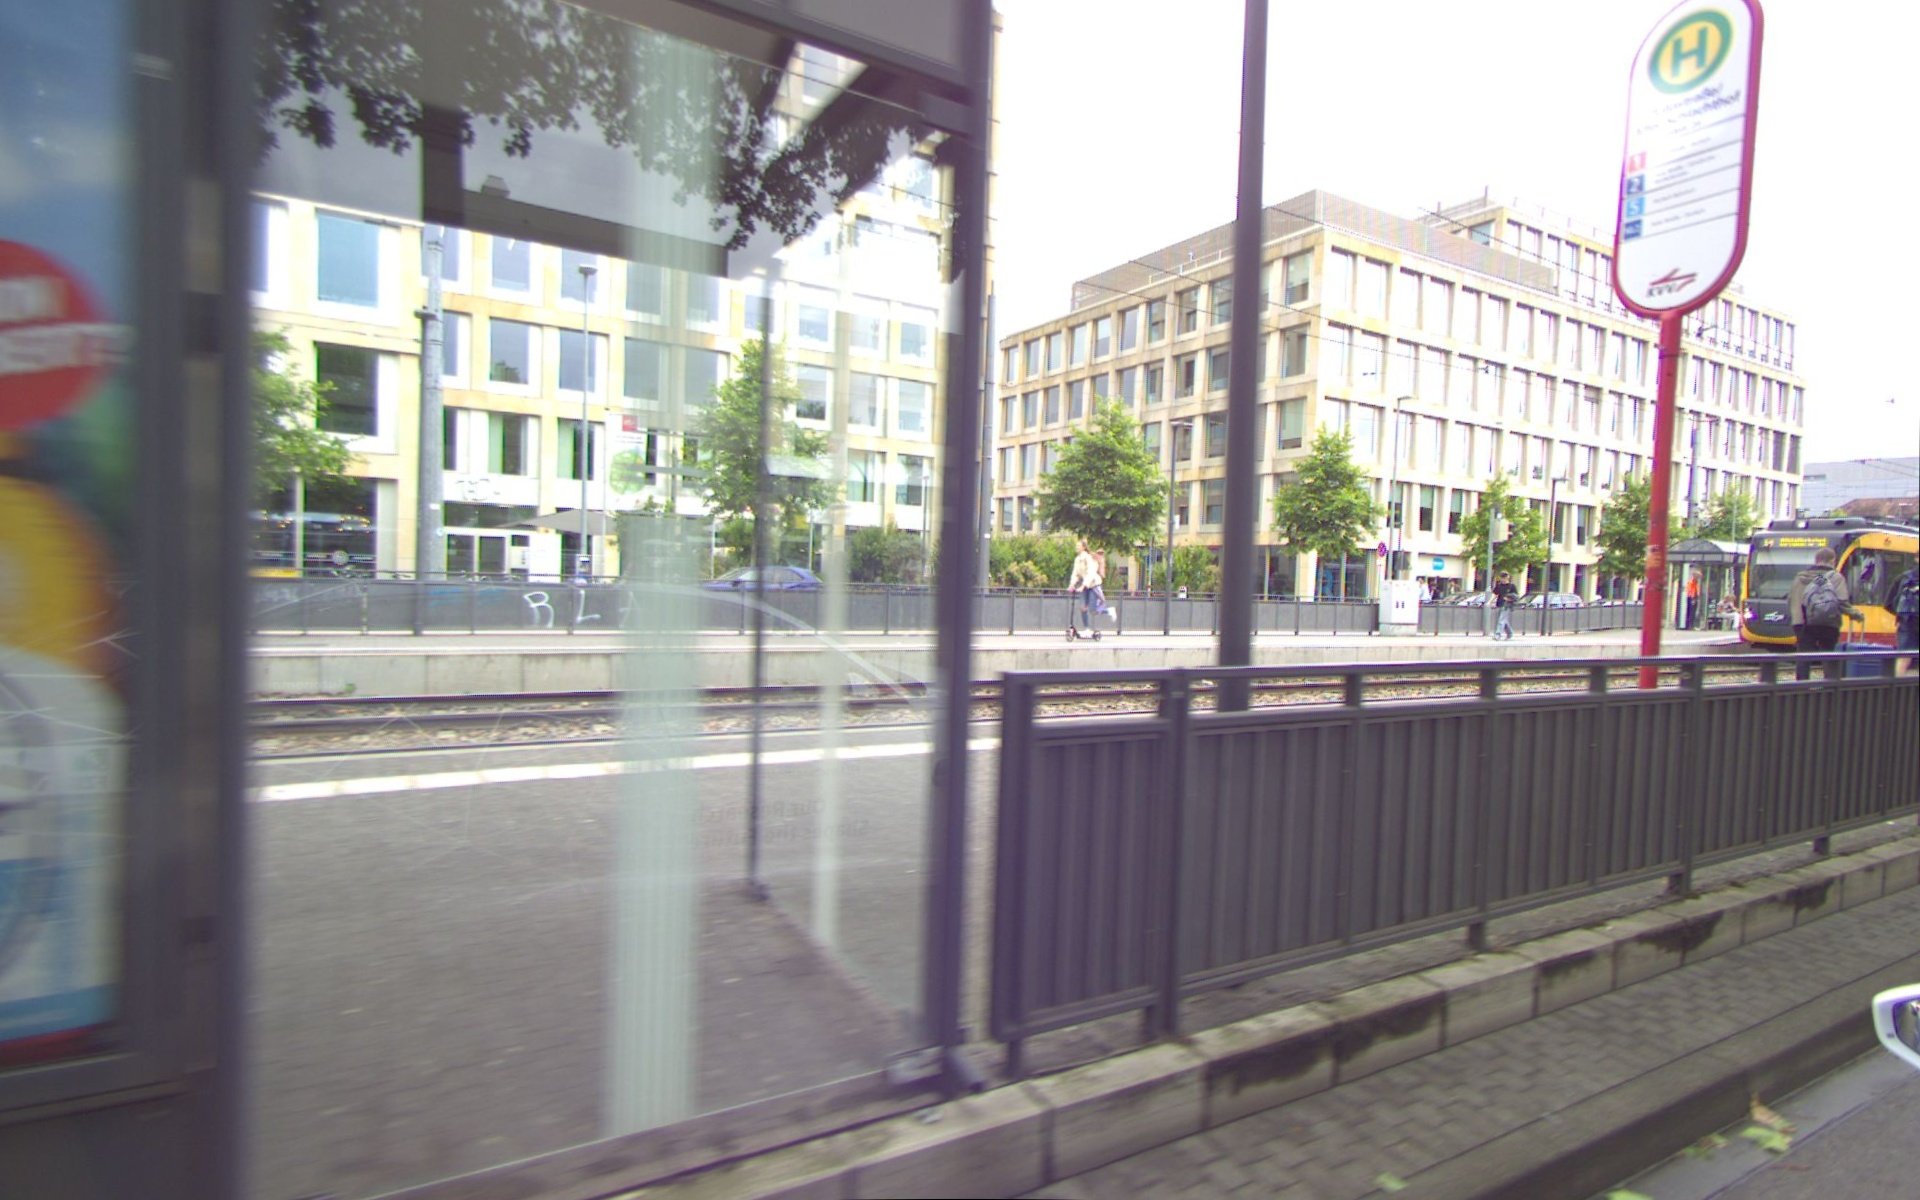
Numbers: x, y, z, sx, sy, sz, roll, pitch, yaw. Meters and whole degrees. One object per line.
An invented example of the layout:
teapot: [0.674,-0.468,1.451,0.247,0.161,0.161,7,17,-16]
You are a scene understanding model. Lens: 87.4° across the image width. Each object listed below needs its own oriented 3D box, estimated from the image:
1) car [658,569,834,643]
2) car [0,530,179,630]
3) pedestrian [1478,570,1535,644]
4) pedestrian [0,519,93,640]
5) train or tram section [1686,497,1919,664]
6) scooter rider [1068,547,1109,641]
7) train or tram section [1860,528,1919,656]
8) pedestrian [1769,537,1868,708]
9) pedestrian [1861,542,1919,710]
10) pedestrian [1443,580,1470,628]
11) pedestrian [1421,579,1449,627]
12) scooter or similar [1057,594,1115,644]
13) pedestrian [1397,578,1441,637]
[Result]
car: [-5.424,0.146,25.458,3.951,1.684,1.985,2,1,-29]
car: [-16.898,-0.390,18.229,3.951,1.684,1.985,2,1,-29]
pedestrian: [13.811,0.175,25.388,1.147,1.819,0.707,2,1,-32]
pedestrian: [-11.212,-0.254,12.091,0.927,1.390,1.034,2,1,-27]
train or tram section: [24.710,-0.332,27.736,11.179,3.913,3.221,2,1,-30]
scooter rider: [2.338,-0.106,18.302,0.548,1.671,0.401,2,1,-31]
train or tram section: [34.351,-0.066,33.468,11.179,3.913,3.148,2,1,-30]
pedestrian: [9.661,0.242,11.298,1.105,1.817,0.663,1,1,-44]
pedestrian: [10.781,0.291,11.342,1.104,1.817,0.664,2,1,-39]
pedestrian: [21.857,0.168,44.205,0.717,2.040,0.709,2,1,-31]
pedestrian: [20.508,0.120,43.356,0.717,2.040,0.709,2,1,-31]
scooter or similar: [2.303,0.351,18.313,0.993,0.861,0.385,2,1,-32]
pedestrian: [16.411,0.254,35.936,1.021,2.040,0.928,2,1,-32]
